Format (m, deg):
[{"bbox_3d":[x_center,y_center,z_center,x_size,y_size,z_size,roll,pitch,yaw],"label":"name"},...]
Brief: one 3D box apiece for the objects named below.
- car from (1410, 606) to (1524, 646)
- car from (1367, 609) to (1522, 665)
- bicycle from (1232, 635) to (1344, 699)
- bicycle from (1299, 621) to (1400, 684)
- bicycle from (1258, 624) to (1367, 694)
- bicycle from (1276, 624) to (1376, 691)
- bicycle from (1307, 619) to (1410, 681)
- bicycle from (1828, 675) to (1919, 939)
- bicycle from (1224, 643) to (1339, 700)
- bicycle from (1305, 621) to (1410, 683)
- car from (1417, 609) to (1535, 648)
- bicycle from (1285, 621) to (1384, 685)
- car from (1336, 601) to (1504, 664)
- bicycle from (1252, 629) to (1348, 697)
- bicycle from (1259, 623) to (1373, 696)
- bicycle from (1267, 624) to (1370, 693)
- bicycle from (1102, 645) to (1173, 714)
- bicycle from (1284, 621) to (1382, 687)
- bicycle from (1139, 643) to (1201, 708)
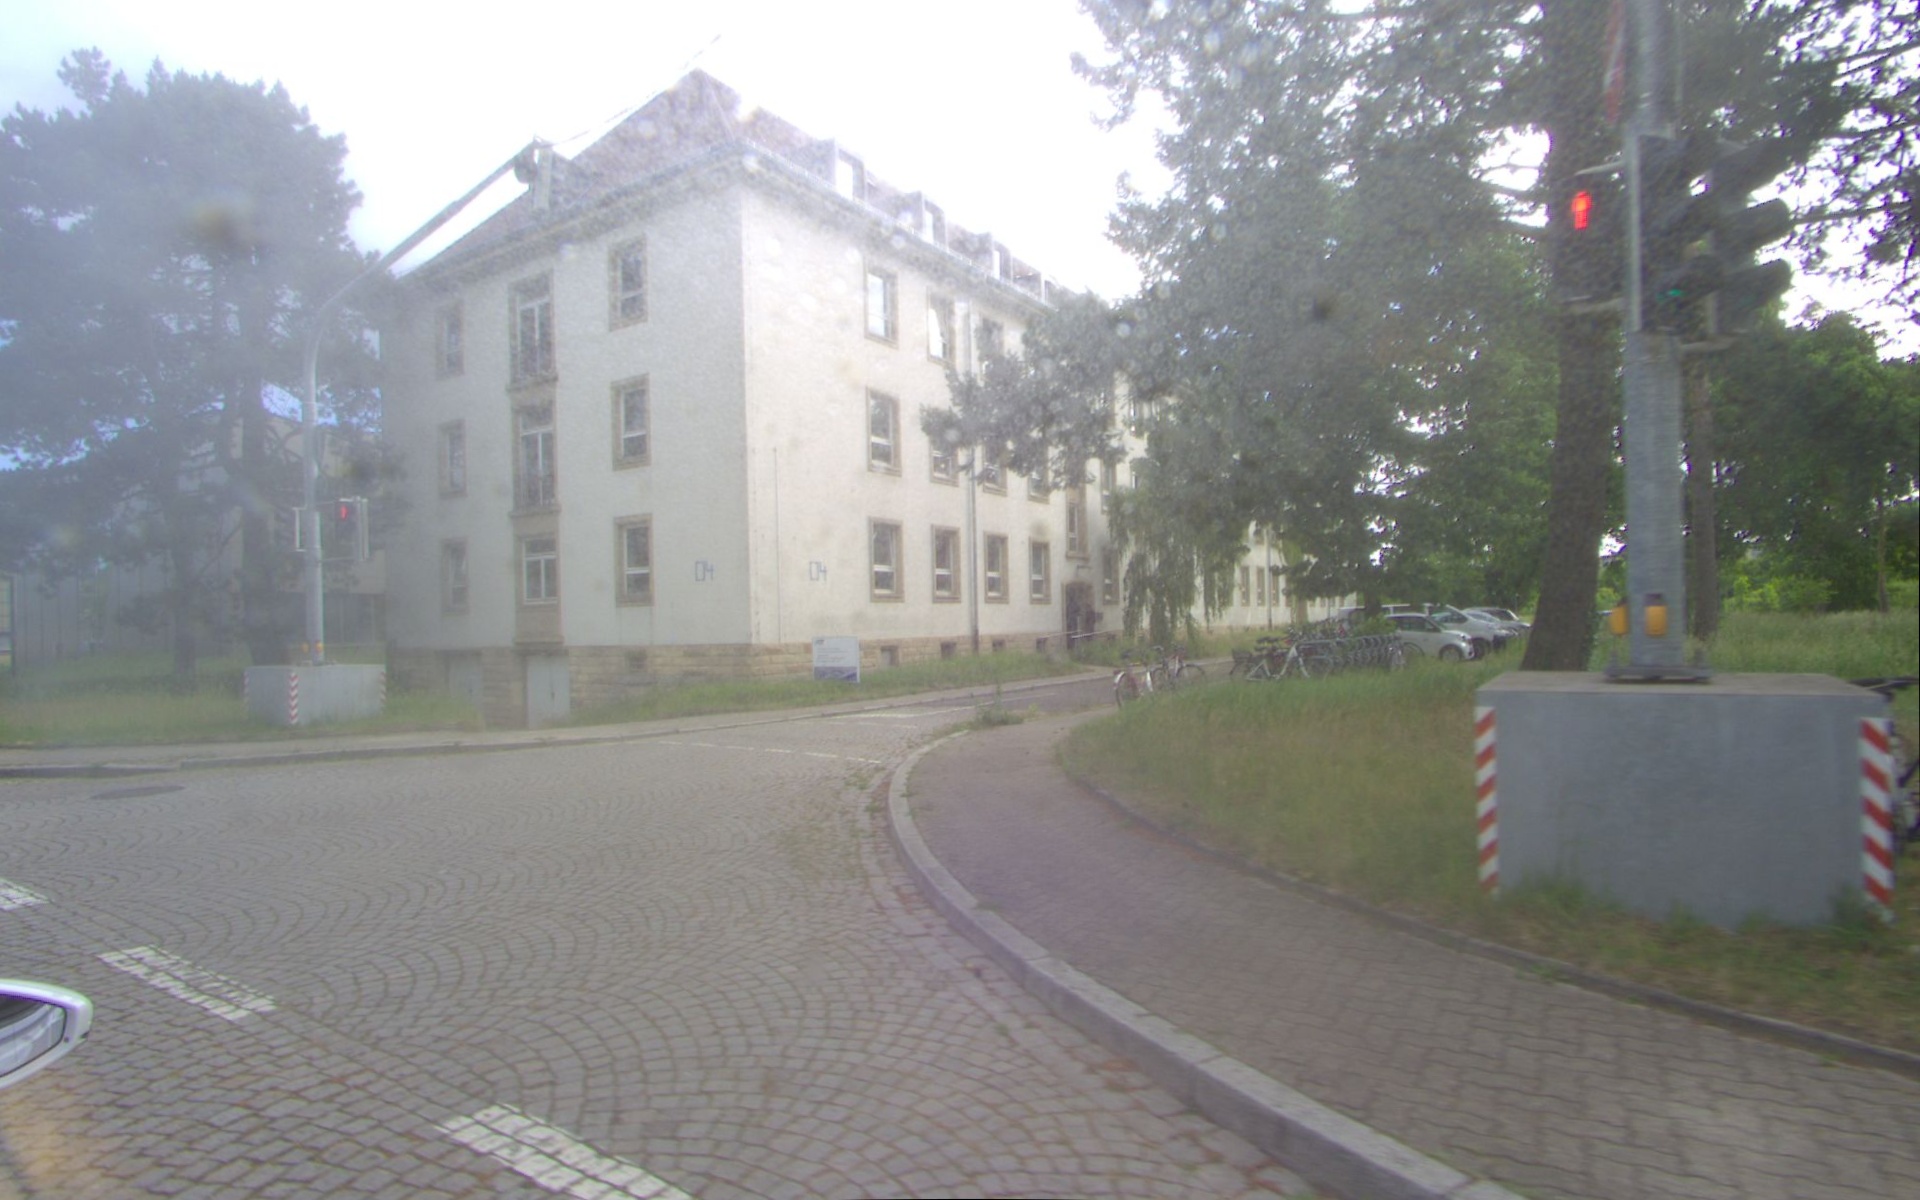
[{"bbox_3d":[24.106,1.277,47.679,4.632,1.796,1.988,-2,-1,34],"label":"car"},{"bbox_3d":[14.329,1.089,29.686,3.880,1.550,1.851,-2,-1,35],"label":"car"},{"bbox_3d":[6.016,1.206,18.424,1.879,1.115,0.539,-2,-1,39],"label":"bicycle"},{"bbox_3d":[8.535,1.149,22.018,1.991,1.337,0.538,-2,-1,39],"label":"bicycle"},{"bbox_3d":[6.947,1.149,19.786,1.951,1.337,0.574,-2,-1,39],"label":"bicycle"},{"bbox_3d":[7.519,1.179,20.652,1.895,1.337,0.390,-2,-1,39],"label":"bicycle"},{"bbox_3d":[9.187,1.143,23.117,2.077,1.385,0.754,-2,-1,39],"label":"bicycle"},{"bbox_3d":[4.218,0.809,4.252,0.565,0.885,1.696,-1,-1,33],"label":"bicycle"},{"bbox_3d":[5.704,1.256,17.849,1.879,0.961,0.539,-2,-1,39],"label":"bicycle"},{"bbox_3d":[8.899,1.164,22.457,2.106,1.337,0.552,-2,-1,39],"label":"bicycle"},{"bbox_3d":[22.962,1.284,44.609,4.456,1.639,1.988,-2,-2,34],"label":"car"},{"bbox_3d":[8.079,1.135,21.646,1.915,1.337,0.551,-2,-1,39],"label":"bicycle"},{"bbox_3d":[15.108,1.086,33.207,4.776,1.934,2.236,-1,-1,18],"label":"car"},{"bbox_3d":[6.390,1.177,18.869,1.619,1.231,0.539,-2,-1,39],"label":"bicycle"},{"bbox_3d":[6.796,1.126,19.204,2.023,1.337,0.435,-2,-1,39],"label":"bicycle"},{"bbox_3d":[7.250,1.168,20.291,1.896,1.337,0.503,-2,-1,39],"label":"bicycle"},{"bbox_3d":[2.819,1.229,15.818,0.523,0.992,1.617,-1,-1,32],"label":"bicycle"},{"bbox_3d":[7.831,1.116,21.080,1.830,1.337,0.553,-2,-1,39],"label":"bicycle"},{"bbox_3d":[3.654,1.286,17.363,0.535,1.027,1.533,-1,-1,32],"label":"bicycle"}]
